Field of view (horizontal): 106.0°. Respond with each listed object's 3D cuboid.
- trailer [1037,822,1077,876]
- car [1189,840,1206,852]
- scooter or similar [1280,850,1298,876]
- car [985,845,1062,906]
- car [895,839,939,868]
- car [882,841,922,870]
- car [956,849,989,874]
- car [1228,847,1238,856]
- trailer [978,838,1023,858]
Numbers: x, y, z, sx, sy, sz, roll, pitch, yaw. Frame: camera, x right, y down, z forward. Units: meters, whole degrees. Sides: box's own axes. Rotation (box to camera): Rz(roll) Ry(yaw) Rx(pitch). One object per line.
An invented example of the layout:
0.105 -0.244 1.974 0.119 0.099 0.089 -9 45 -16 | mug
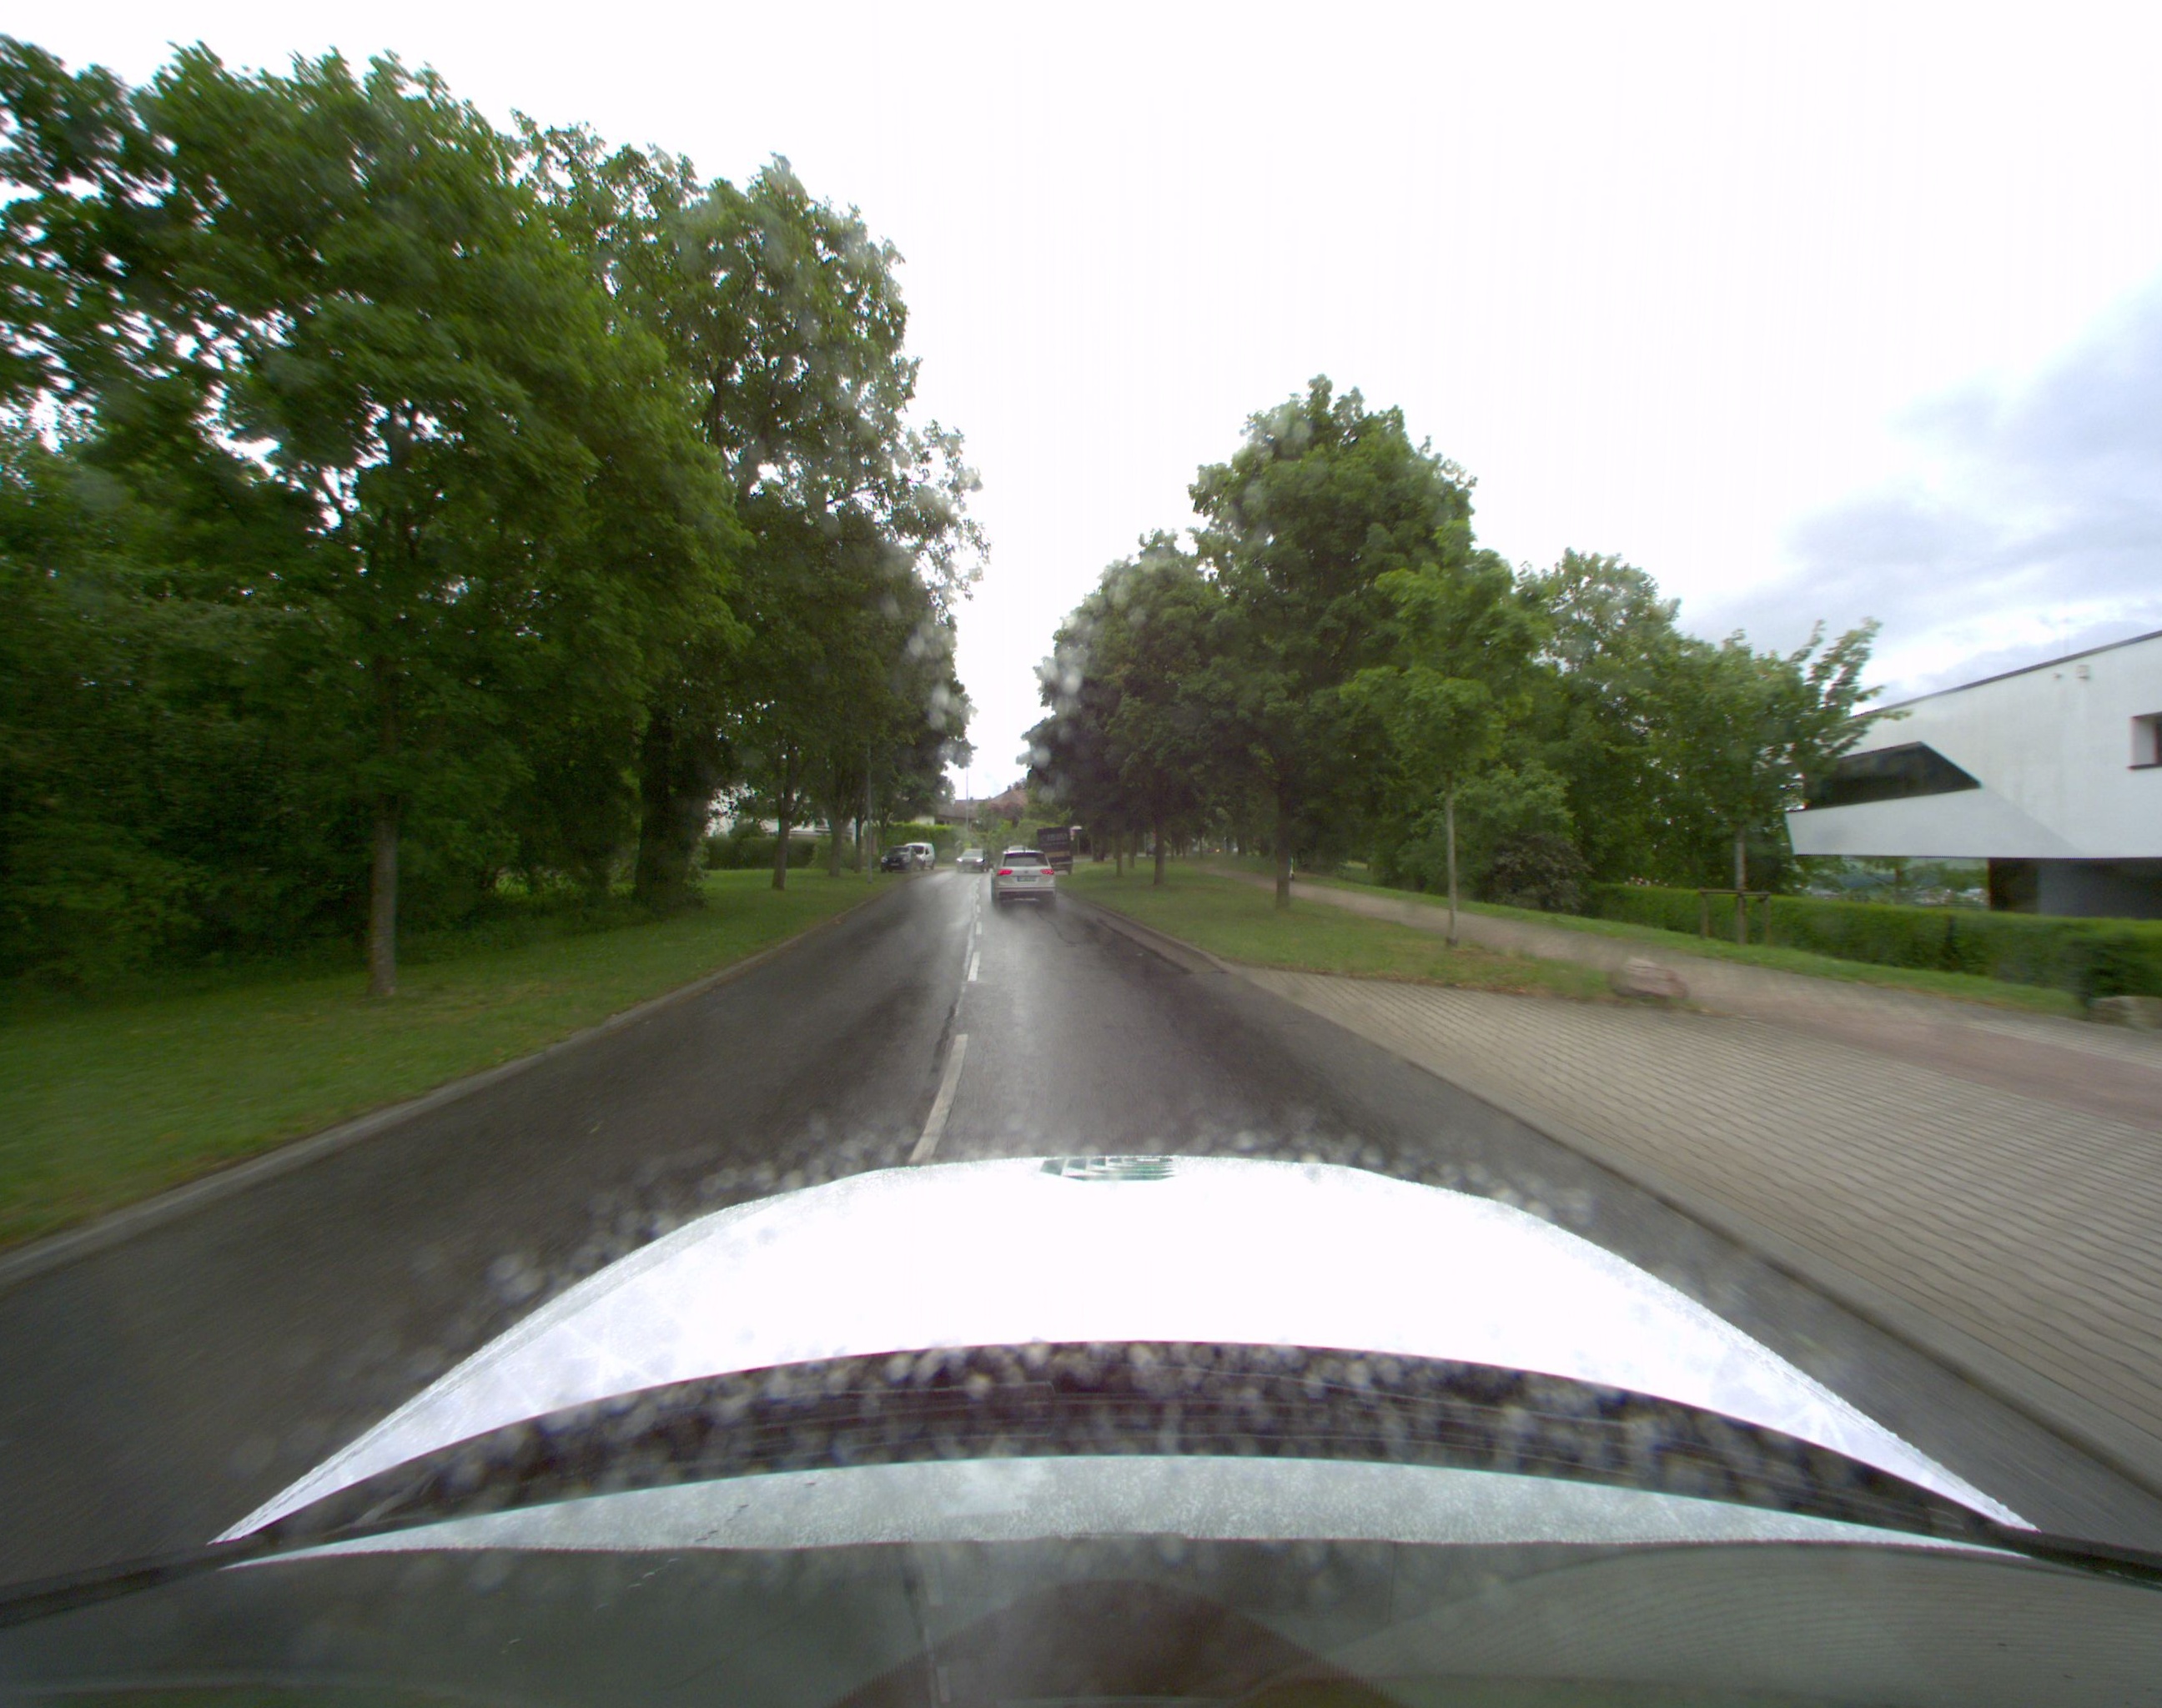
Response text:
-1.467 -0.324 47.550 1.989 2.808 5.602 -6 1 -3 | trailer
19.152 -1.269 133.583 1.978 1.804 4.018 2 0 18 | car
9.470 0.384 37.131 0.461 1.146 1.301 -2 0 1 | scooter or similar
-1.869 0.589 25.139 1.974 1.652 4.164 -2 1 -9 | car
-10.958 -0.051 54.617 1.791 1.795 4.376 1 0 3 | car
-10.796 0.089 49.375 1.747 1.640 4.584 2 0 -5 | car
-7.367 0.463 55.465 1.785 1.537 4.089 2 1 -2 | car
32.749 -0.591 175.313 1.979 1.807 4.015 2 0 14 | car
-8.968 -0.674 90.679 4.586 2.171 1.822 0 1 15 | trailer
